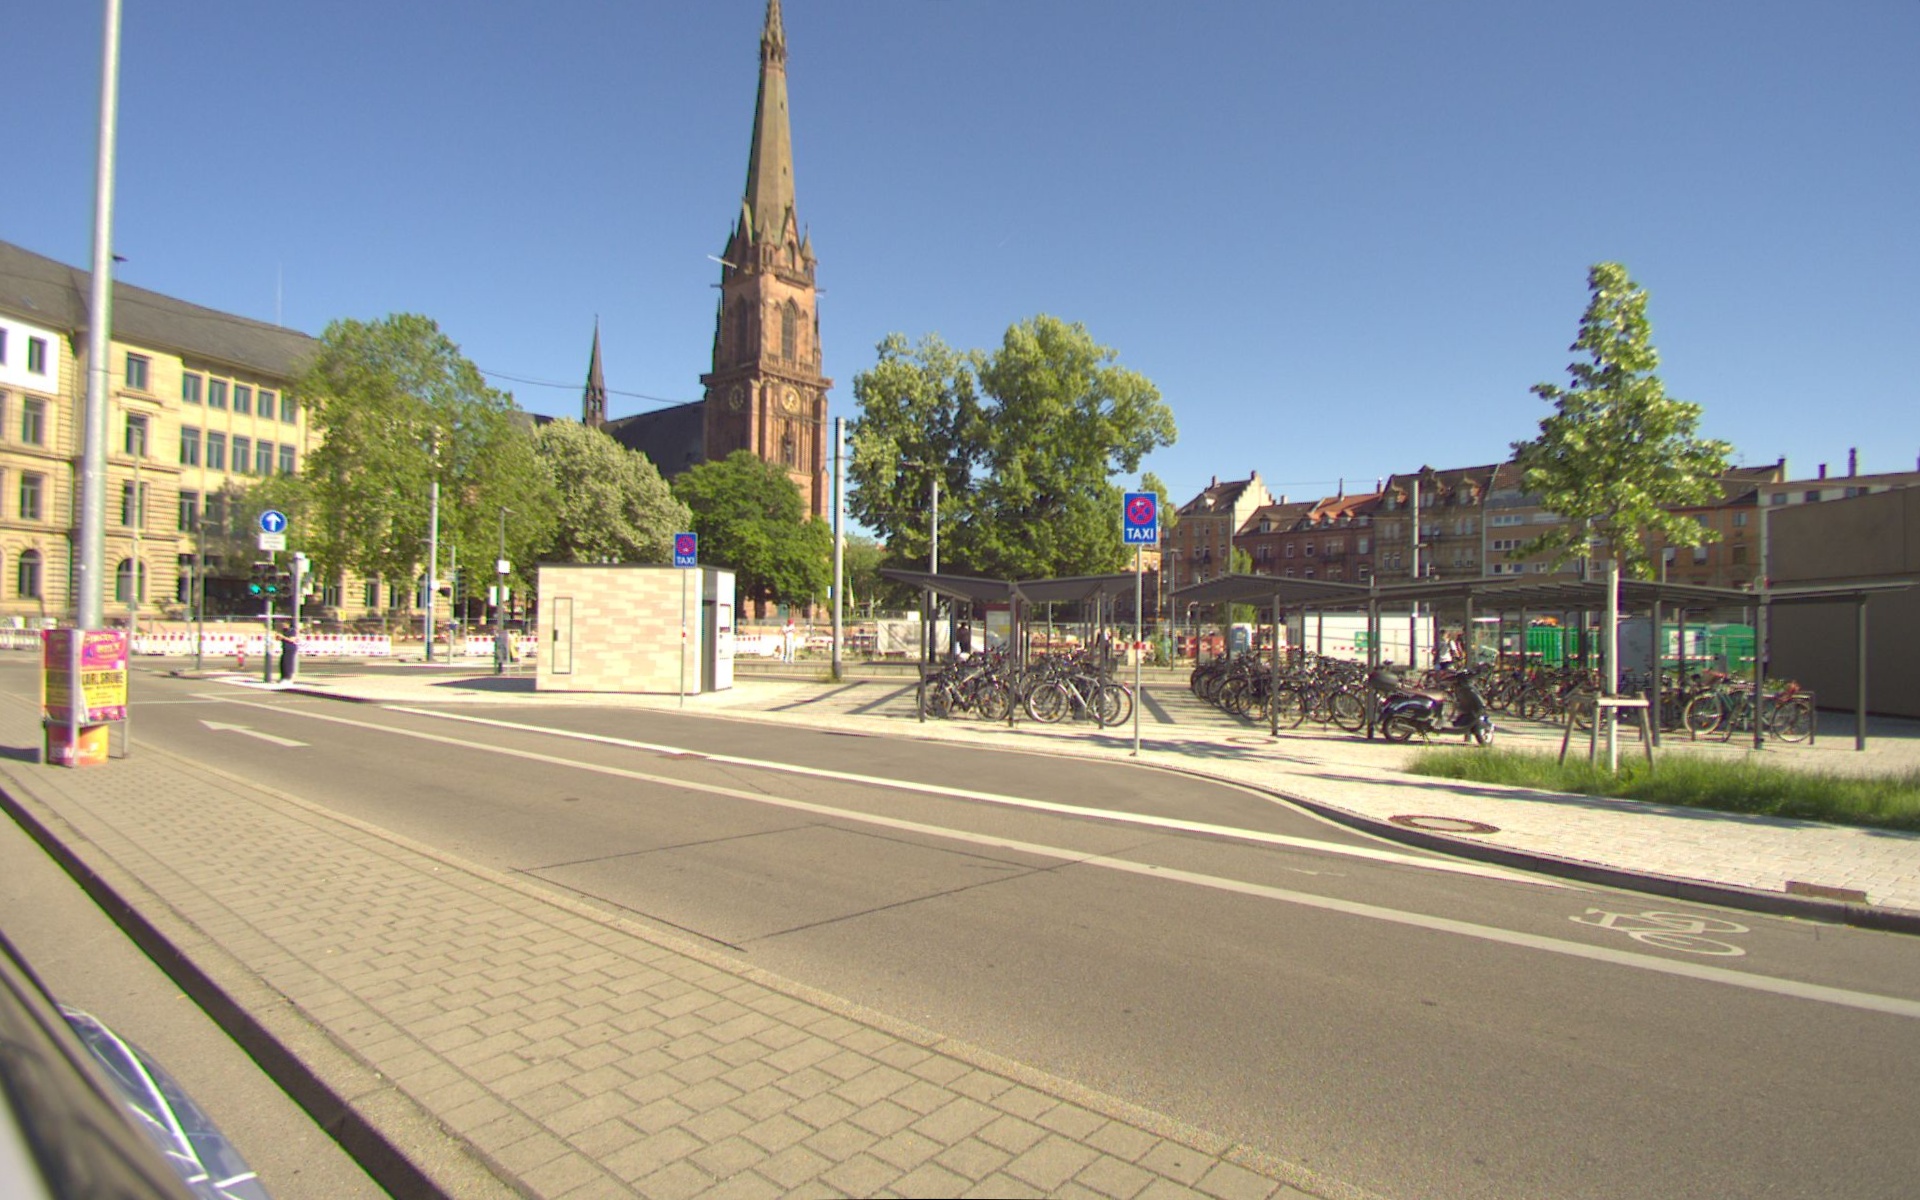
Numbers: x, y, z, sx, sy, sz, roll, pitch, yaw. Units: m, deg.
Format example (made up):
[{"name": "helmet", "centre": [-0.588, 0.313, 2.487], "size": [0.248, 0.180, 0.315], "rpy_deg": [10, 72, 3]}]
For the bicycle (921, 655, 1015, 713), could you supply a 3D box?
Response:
[{"name": "bicycle", "centre": [0.167, 1.619, 19.529], "size": [1.765, 1.046, 0.567], "rpy_deg": [1, -3, 4]}]

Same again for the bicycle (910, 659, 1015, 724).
[{"name": "bicycle", "centre": [0.057, 1.568, 17.436], "size": [1.765, 1.046, 0.567], "rpy_deg": [1, -3, 4]}]

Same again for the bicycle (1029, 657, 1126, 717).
[{"name": "bicycle", "centre": [2.207, 1.637, 19.174], "size": [1.765, 1.046, 0.567], "rpy_deg": [1, -3, 4]}]

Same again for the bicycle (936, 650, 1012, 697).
[{"name": "bicycle", "centre": [0.341, 1.733, 23.847], "size": [1.765, 1.046, 0.567], "rpy_deg": [1, -3, 4]}]

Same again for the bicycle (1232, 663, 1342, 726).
[{"name": "bicycle", "centre": [5.843, 1.679, 18.131], "size": [1.765, 1.046, 0.567], "rpy_deg": [1, -3, 4]}]

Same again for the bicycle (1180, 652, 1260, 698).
[{"name": "bicycle", "centre": [6.231, 1.796, 24.260], "size": [1.765, 1.046, 0.567], "rpy_deg": [1, -3, 4]}]

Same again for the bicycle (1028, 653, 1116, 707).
[{"name": "bicycle", "centre": [2.307, 1.655, 20.990], "size": [1.765, 1.046, 0.567], "rpy_deg": [1, -3, 4]}]

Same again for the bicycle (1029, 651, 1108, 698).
[{"name": "bicycle", "centre": [2.516, 1.728, 23.554], "size": [1.765, 1.046, 0.567], "rpy_deg": [1, -3, 4]}]

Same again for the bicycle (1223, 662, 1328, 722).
[{"name": "bicycle", "centre": [5.846, 1.696, 18.790], "size": [1.765, 1.046, 0.567], "rpy_deg": [1, -3, 4]}]

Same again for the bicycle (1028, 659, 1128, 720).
[{"name": "bicycle", "centre": [2.143, 1.625, 18.565], "size": [1.765, 1.046, 0.567], "rpy_deg": [1, -3, 4]}]

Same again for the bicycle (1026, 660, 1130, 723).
[{"name": "bicycle", "centre": [2.075, 1.607, 17.925], "size": [1.765, 1.046, 0.567], "rpy_deg": [1, -3, 4]}]

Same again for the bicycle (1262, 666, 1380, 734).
[{"name": "bicycle", "centre": [6.028, 1.662, 16.949], "size": [1.765, 1.046, 0.567], "rpy_deg": [1, -3, 4]}]

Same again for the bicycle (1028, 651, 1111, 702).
[{"name": "bicycle", "centre": [2.398, 1.676, 22.229], "size": [1.765, 1.046, 0.567], "rpy_deg": [1, -3, 4]}]

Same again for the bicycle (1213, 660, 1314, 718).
[{"name": "bicycle", "centre": [5.812, 1.695, 19.421], "size": [1.765, 1.046, 0.567], "rpy_deg": [1, -3, 4]}]

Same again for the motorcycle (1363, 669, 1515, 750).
[{"name": "motorcycle", "centre": [7.174, 1.628, 15.238], "size": [1.962, 1.128, 0.593], "rpy_deg": [0, -2, 8]}]

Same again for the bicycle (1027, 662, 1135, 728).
[{"name": "bicycle", "centre": [2.046, 1.604, 17.275], "size": [1.765, 1.046, 0.567], "rpy_deg": [1, -3, 4]}]

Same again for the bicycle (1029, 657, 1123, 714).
[{"name": "bicycle", "centre": [2.256, 1.657, 19.774], "size": [1.765, 1.046, 0.567], "rpy_deg": [1, -3, 4]}]

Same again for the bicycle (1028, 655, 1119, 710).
[{"name": "bicycle", "centre": [2.275, 1.652, 20.389], "size": [1.765, 1.046, 0.567], "rpy_deg": [1, -3, 4]}]

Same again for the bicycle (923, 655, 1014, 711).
[{"name": "bicycle", "centre": [0.185, 1.641, 20.160], "size": [1.765, 1.046, 0.567], "rpy_deg": [1, -3, 4]}]

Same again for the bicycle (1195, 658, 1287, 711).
[{"name": "bicycle", "centre": [5.910, 1.771, 21.305], "size": [1.765, 1.046, 0.567], "rpy_deg": [1, -3, 4]}]

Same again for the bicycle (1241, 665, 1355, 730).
[{"name": "bicycle", "centre": [5.843, 1.678, 17.546], "size": [1.765, 1.046, 0.567], "rpy_deg": [1, -3, 4]}]

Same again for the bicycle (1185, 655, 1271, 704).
[{"name": "bicycle", "centre": [6.023, 1.780, 22.771], "size": [1.765, 1.046, 0.567], "rpy_deg": [1, -3, 4]}]

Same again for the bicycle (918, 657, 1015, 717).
[{"name": "bicycle", "centre": [0.129, 1.605, 18.841], "size": [1.765, 1.046, 0.567], "rpy_deg": [1, -3, 4]}]

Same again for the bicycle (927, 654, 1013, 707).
[{"name": "bicycle", "centre": [0.219, 1.687, 21.392], "size": [1.765, 1.046, 0.567], "rpy_deg": [1, -3, 4]}]

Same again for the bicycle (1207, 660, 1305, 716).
[{"name": "bicycle", "centre": [5.864, 1.732, 20.092], "size": [1.765, 1.046, 0.567], "rpy_deg": [1, -3, 4]}]

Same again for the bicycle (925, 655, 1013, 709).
[{"name": "bicycle", "centre": [0.191, 1.674, 20.776], "size": [1.765, 1.046, 0.567], "rpy_deg": [1, -3, 4]}]

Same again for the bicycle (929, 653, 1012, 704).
[{"name": "bicycle", "centre": [0.240, 1.701, 22.058], "size": [1.765, 1.046, 0.567], "rpy_deg": [1, -3, 4]}]

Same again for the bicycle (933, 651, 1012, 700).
[{"name": "bicycle", "centre": [0.295, 1.723, 23.255], "size": [1.765, 1.046, 0.567], "rpy_deg": [1, -3, 4]}]

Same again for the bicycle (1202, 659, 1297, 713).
[{"name": "bicycle", "centre": [5.903, 1.750, 20.707], "size": [1.765, 1.046, 0.567], "rpy_deg": [1, -3, 4]}]

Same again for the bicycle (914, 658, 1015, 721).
[{"name": "bicycle", "centre": [0.094, 1.583, 18.086], "size": [1.765, 1.046, 0.567], "rpy_deg": [1, -3, 4]}]

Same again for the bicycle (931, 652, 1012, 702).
[{"name": "bicycle", "centre": [0.263, 1.711, 22.653], "size": [1.765, 1.046, 0.567], "rpy_deg": [1, -3, 4]}]

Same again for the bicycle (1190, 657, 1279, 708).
[{"name": "bicycle", "centre": [5.928, 1.774, 21.901], "size": [1.765, 1.046, 0.567], "rpy_deg": [1, -3, 4]}]

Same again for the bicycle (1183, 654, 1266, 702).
[{"name": "bicycle", "centre": [6.132, 1.797, 23.494], "size": [1.765, 1.046, 0.567], "rpy_deg": [1, -3, 4]}]
